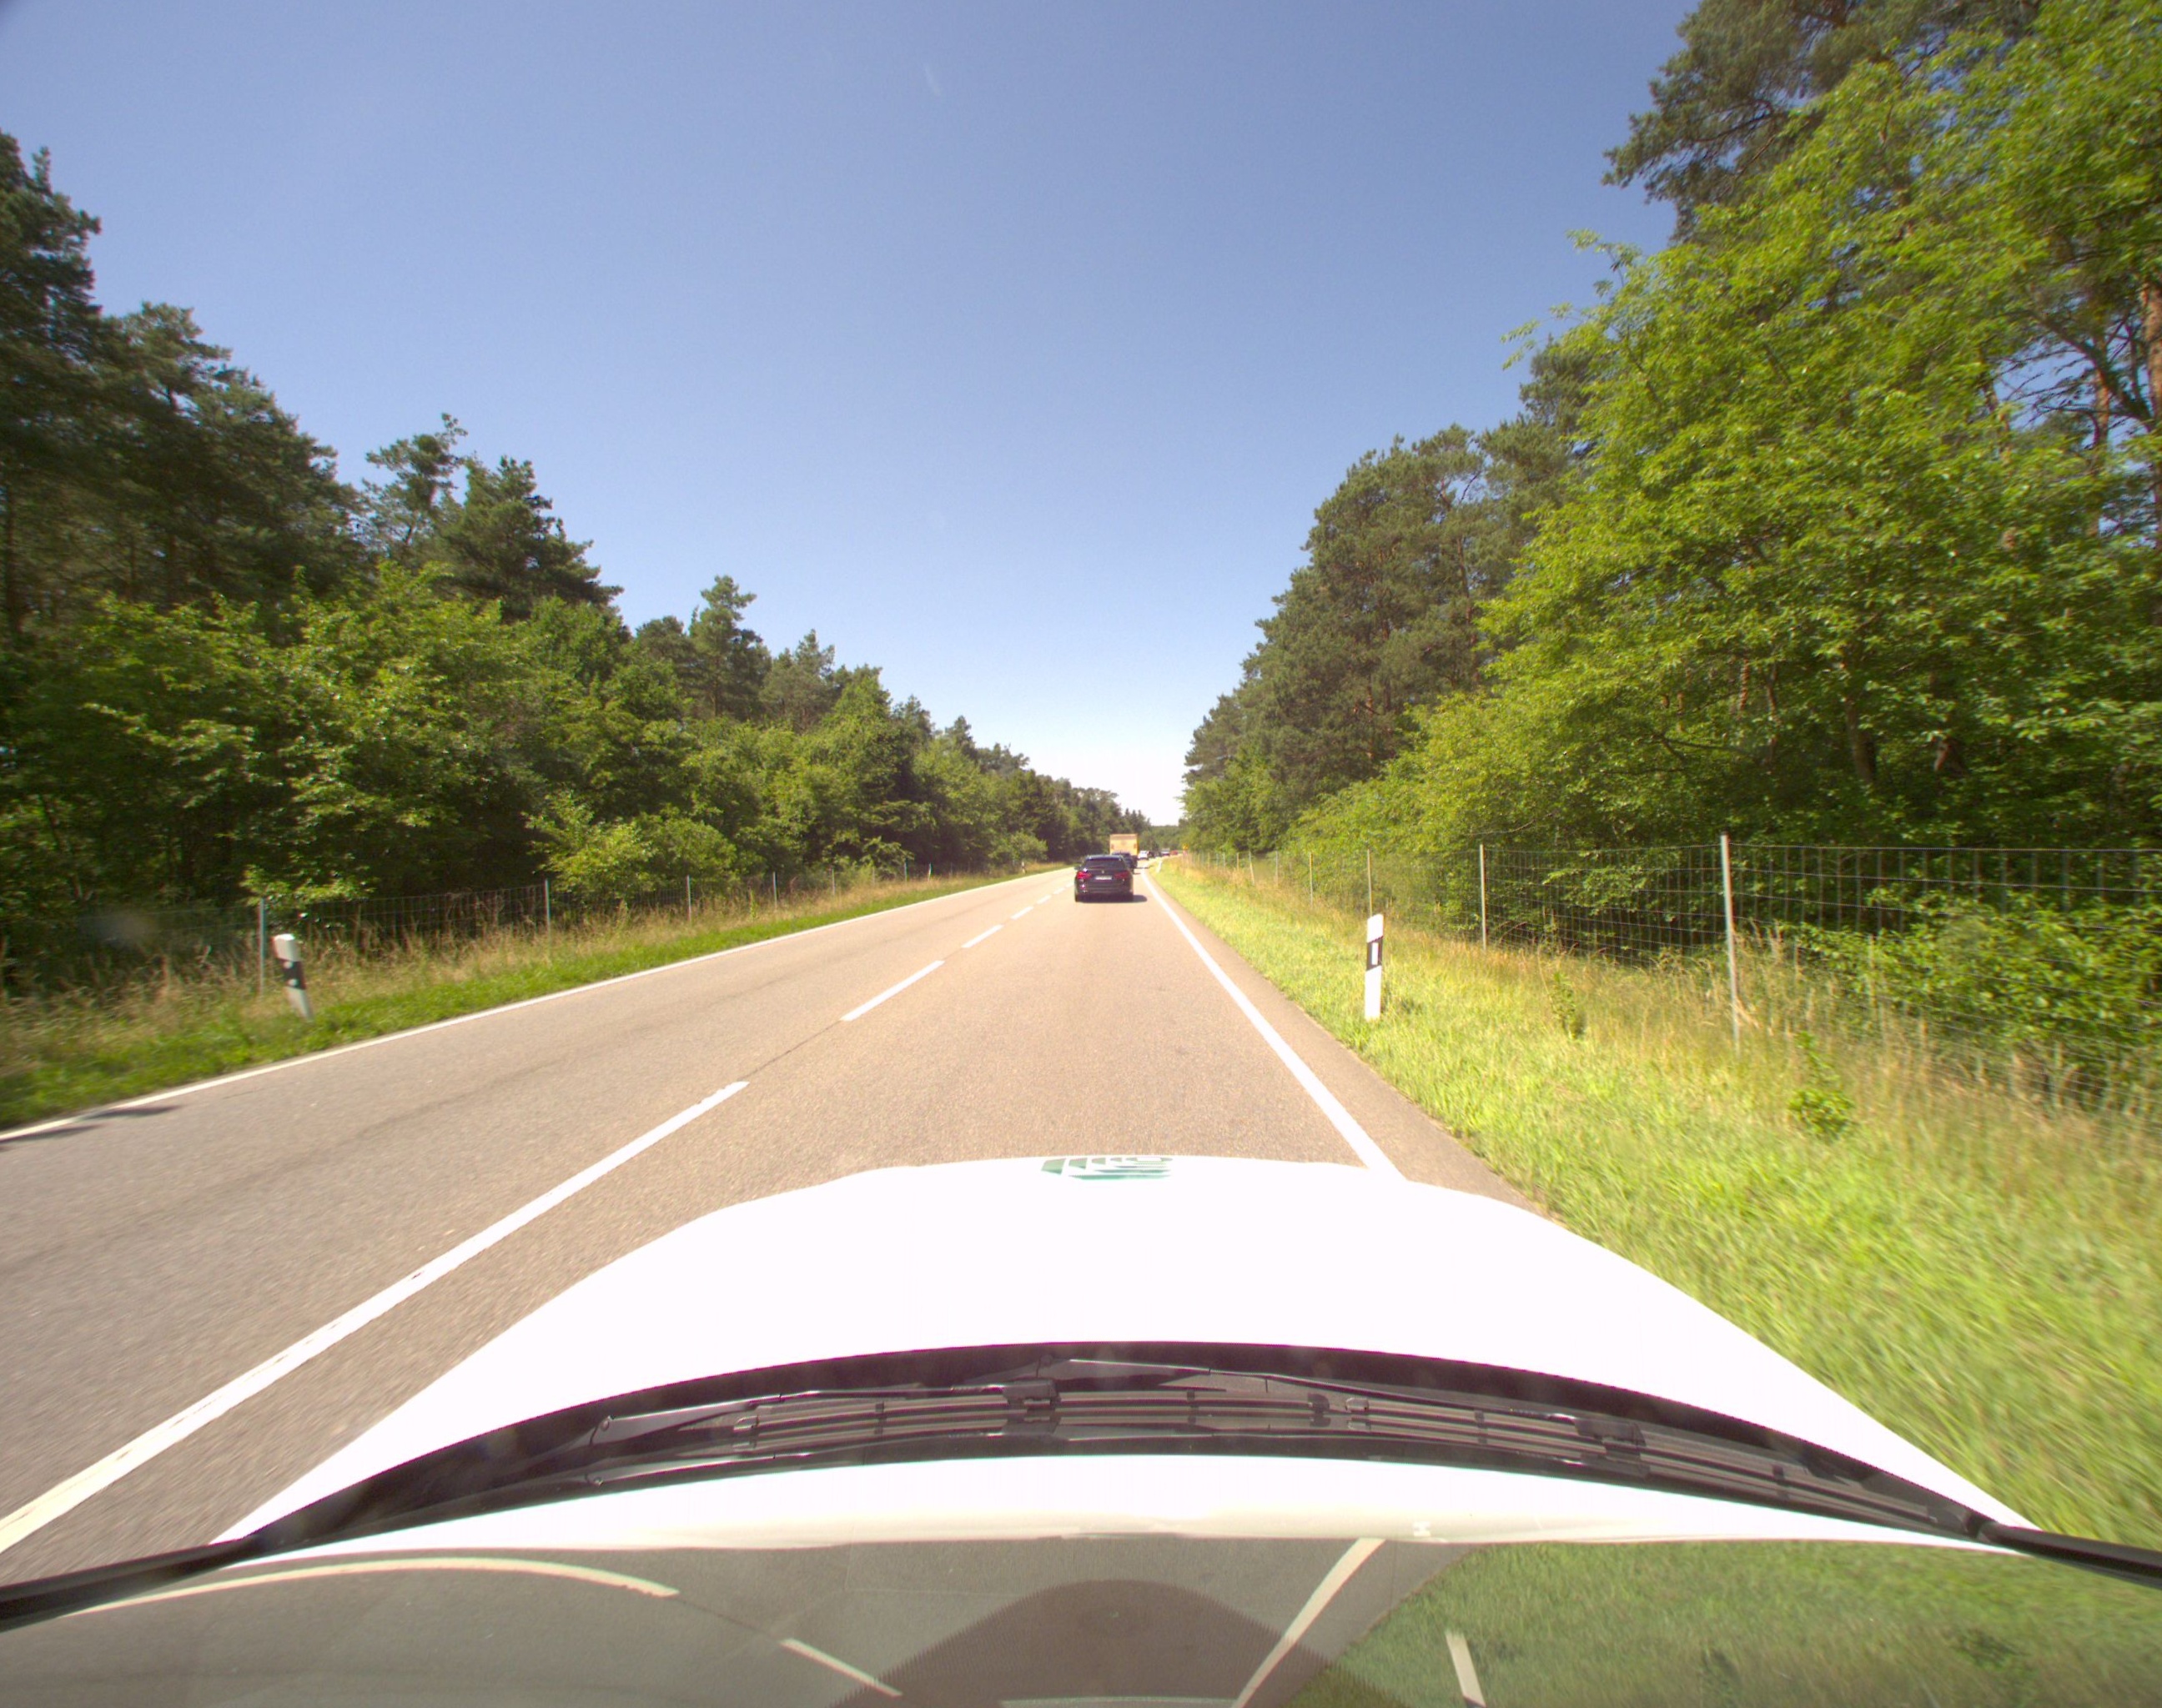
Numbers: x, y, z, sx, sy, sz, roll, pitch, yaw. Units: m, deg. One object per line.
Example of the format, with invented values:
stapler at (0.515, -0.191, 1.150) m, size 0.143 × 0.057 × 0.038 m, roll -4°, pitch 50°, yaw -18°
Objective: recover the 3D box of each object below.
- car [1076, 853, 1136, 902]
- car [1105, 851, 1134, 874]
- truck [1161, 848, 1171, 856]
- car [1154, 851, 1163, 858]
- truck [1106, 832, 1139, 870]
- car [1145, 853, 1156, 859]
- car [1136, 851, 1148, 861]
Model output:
car at (0.744, 0.700, 26.619) m, size 1.815 × 1.470 × 3.999 m, roll 0°, pitch 0°, yaw 0°
car at (2.727, 0.601, 58.489) m, size 1.940 × 1.541 × 4.002 m, roll -3°, pitch 0°, yaw 2°
truck at (23.754, -0.529, 227.796) m, size 2.550 × 2.202 × 4.984 m, roll -2°, pitch 0°, yaw 7°
car at (19.308, 0.129, 203.335) m, size 1.984 × 1.636 × 4.005 m, roll -3°, pitch 0°, yaw 5°
truck at (4.001, -0.279, 78.450) m, size 2.953 × 3.387 × 6.444 m, roll -2°, pitch 0°, yaw 3°
car at (14.805, 0.409, 173.768) m, size 1.986 × 1.420 × 4.002 m, roll -1°, pitch 0°, yaw 2°
car at (10.596, 0.378, 142.008) m, size 1.856 × 1.605 × 4.002 m, roll -2°, pitch 0°, yaw 2°
